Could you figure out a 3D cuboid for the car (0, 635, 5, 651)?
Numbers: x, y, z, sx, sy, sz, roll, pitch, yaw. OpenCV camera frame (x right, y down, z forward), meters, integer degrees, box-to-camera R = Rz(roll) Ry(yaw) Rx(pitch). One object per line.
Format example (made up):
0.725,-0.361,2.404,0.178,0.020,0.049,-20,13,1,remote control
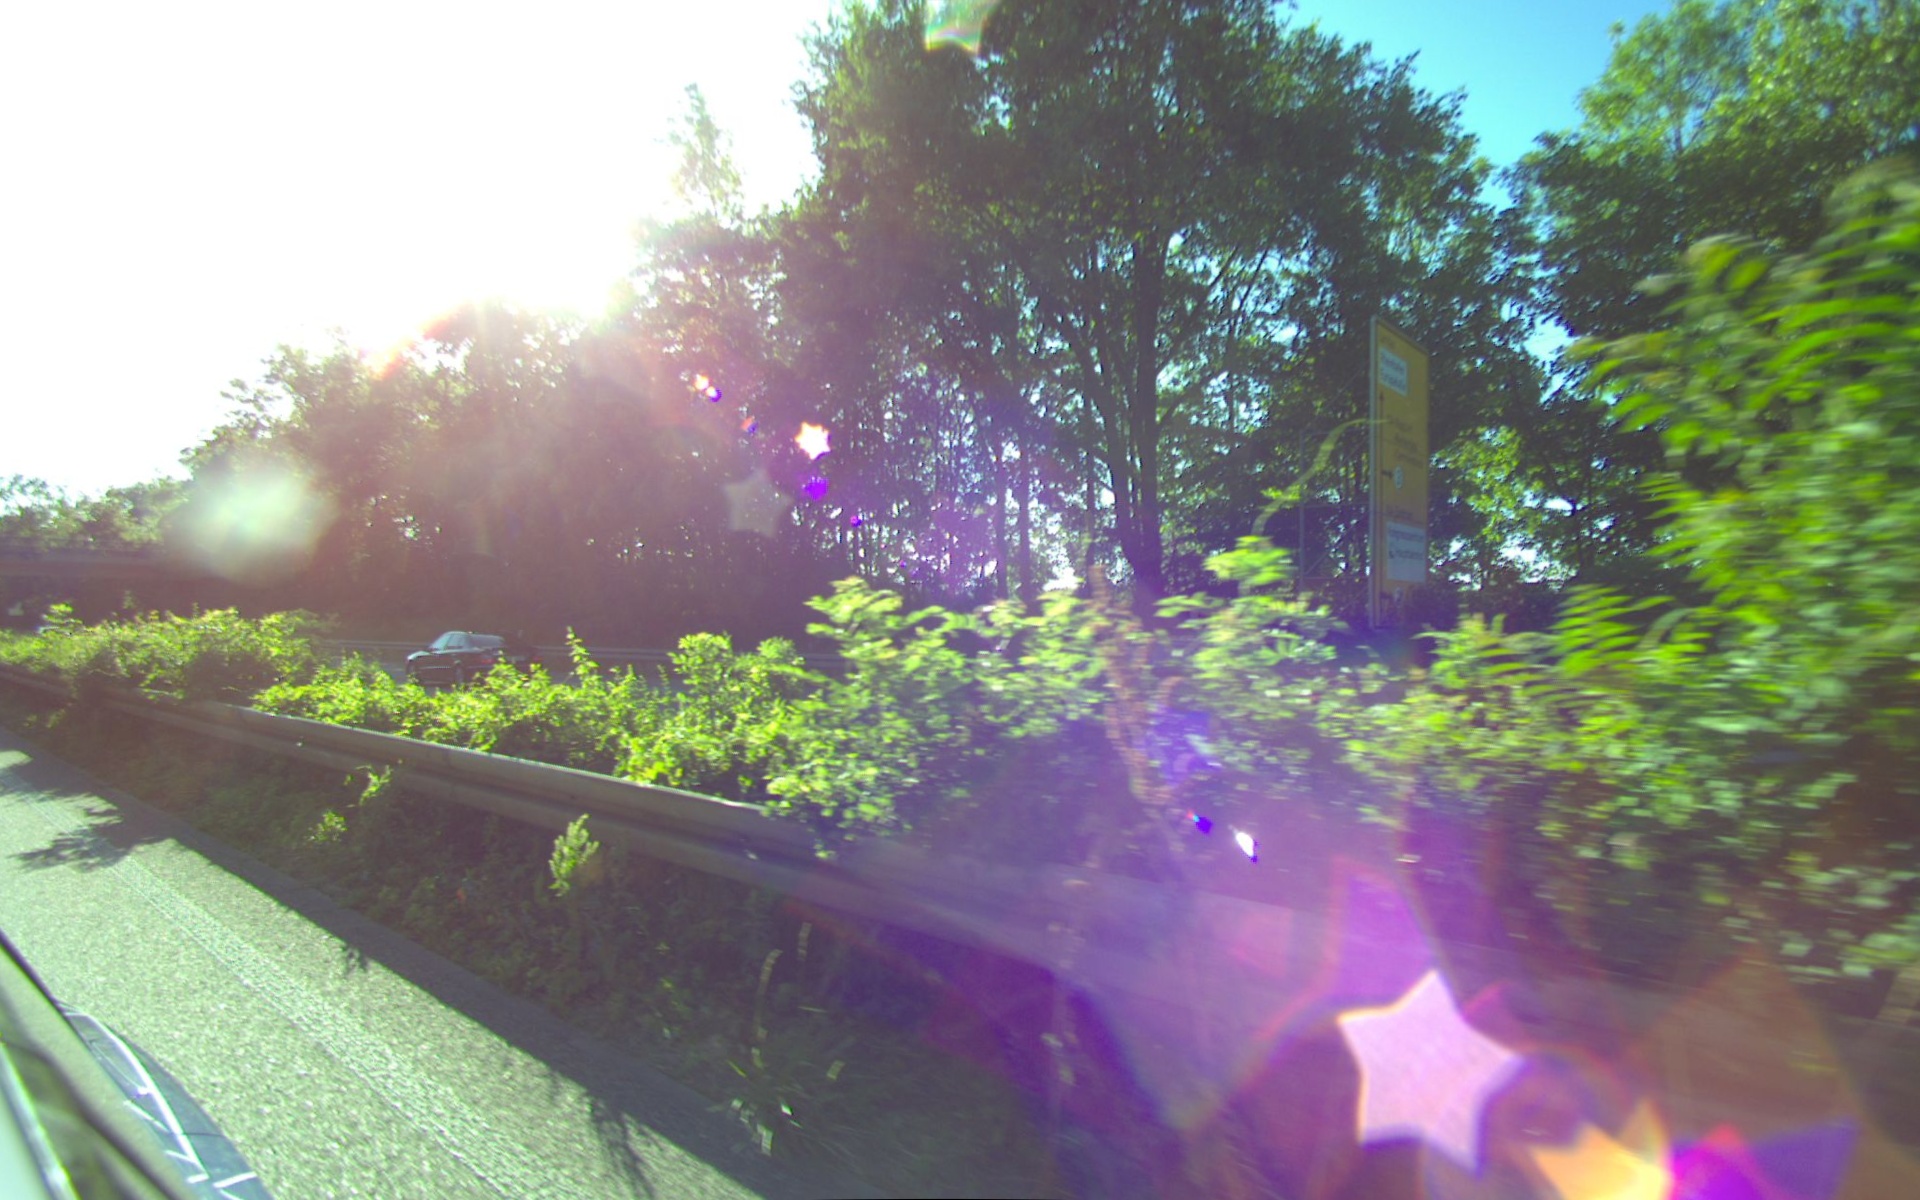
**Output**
-88.626,3.925,92.086,4.580,1.461,1.941,-2,-1,40,car

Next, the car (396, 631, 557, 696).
-12.283,1.540,25.609,4.501,1.461,1.941,-2,-1,39,car

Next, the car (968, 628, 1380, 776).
2.458,1.090,12.253,4.501,1.461,1.941,-2,-2,39,car

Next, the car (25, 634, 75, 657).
-62.041,3.096,68.990,4.322,1.461,1.941,-2,-1,40,car
